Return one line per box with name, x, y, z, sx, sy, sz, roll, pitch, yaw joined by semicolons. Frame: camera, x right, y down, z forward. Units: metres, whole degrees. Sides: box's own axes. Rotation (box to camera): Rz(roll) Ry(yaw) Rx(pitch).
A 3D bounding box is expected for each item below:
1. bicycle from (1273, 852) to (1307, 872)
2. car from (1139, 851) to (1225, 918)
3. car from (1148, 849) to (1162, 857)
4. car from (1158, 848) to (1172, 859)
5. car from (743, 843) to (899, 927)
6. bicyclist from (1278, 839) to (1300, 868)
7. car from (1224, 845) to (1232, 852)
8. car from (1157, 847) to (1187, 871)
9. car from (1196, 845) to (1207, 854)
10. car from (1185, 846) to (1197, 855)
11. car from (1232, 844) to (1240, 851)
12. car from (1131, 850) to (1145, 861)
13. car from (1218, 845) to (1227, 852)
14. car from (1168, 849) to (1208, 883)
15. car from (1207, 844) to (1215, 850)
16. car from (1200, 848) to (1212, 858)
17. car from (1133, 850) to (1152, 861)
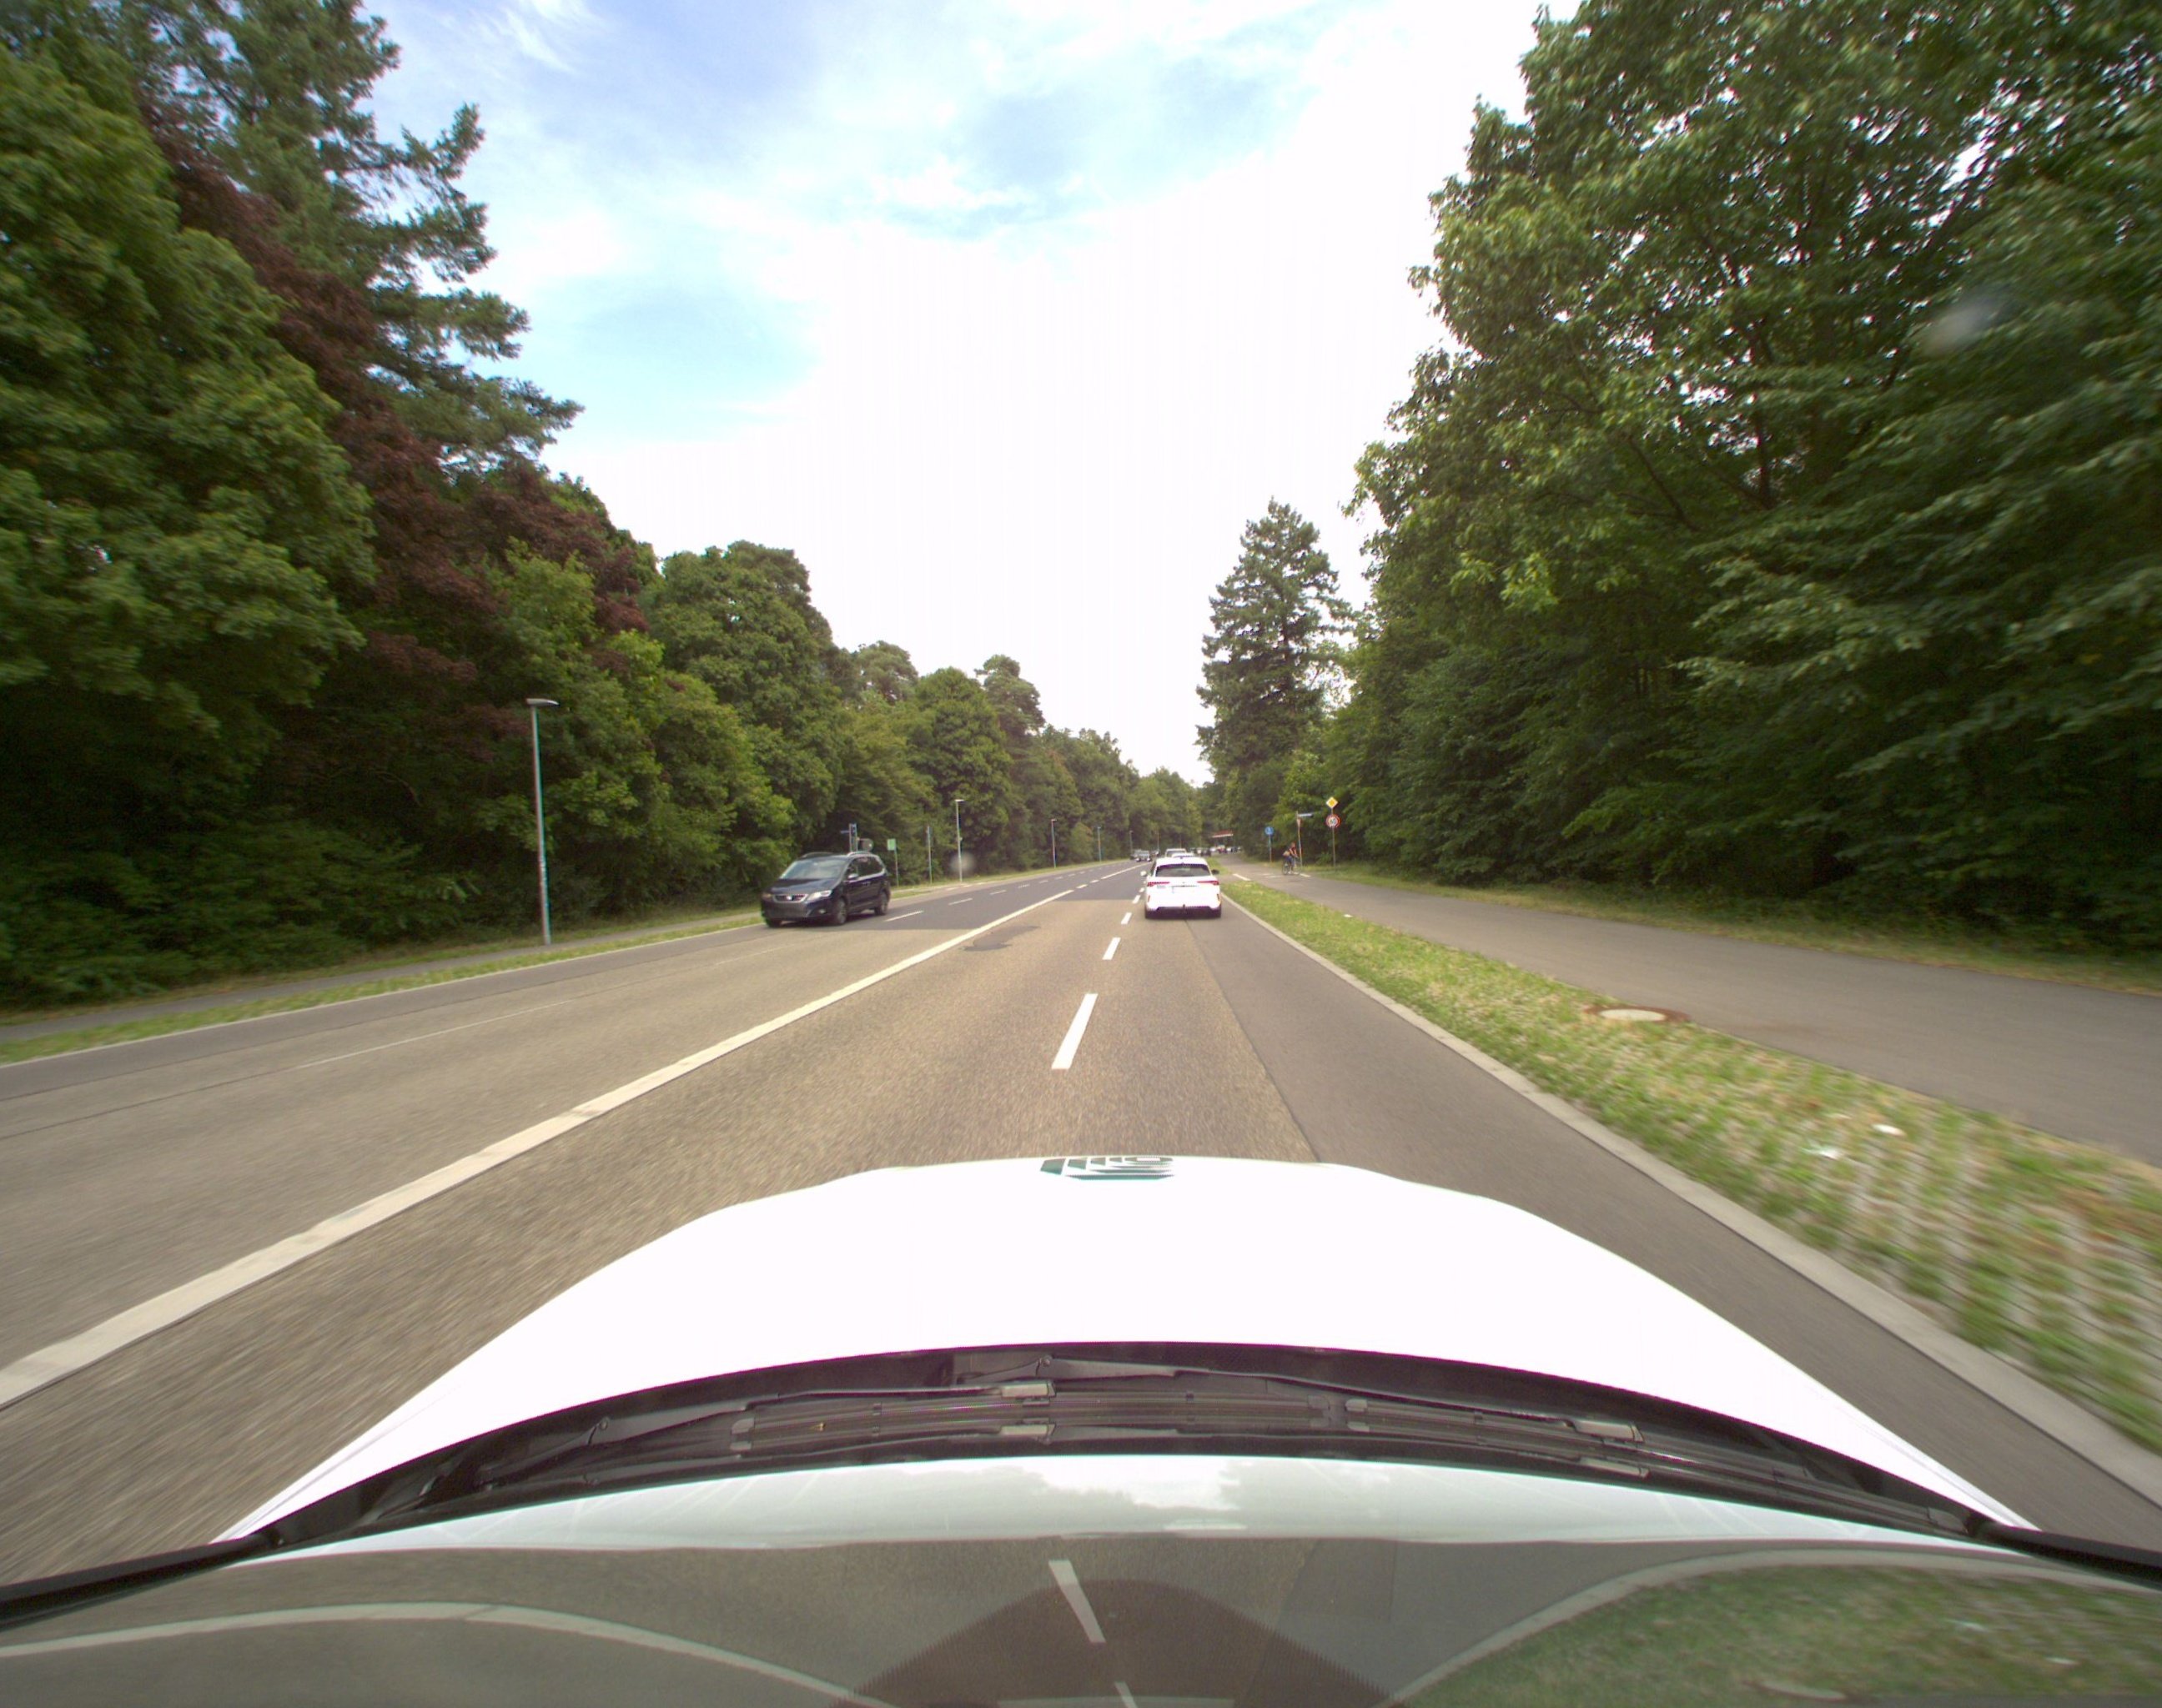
bicycle;10.795;0.431;42.188;0.710;0.994;2.169;-2;0;-16
car;2.476;0.679;20.178;1.827;1.410;4.499;-2;0;6
car;14.314;-0.207;157.293;1.980;1.617;4.679;0;-1;12
car;11.942;-0.033;115.166;1.719;1.587;4.011;0;-1;10
car;-6.330;0.720;20.526;1.984;1.791;4.754;-3;-1;5
bicyclist;10.771;-0.017;42.178;0.710;1.470;0.896;-2;0;-16
car;44.746;-1.656;247.195;1.873;1.816;4.018;0;-1;17
car;6.394;0.360;57.002;1.982;1.607;4.009;0;-1;8
car;26.578;-0.979;179.875;1.979;1.783;4.014;0;-1;13
car;21.914;-0.650;162.677;1.980;1.783;4.014;0;-1;13
car;44.049;-1.891;231.704;1.979;1.706;4.016;-2;0;15
car;9.084;0.198;129.597;1.912;1.655;4.479;-1;-1;8
car;35.082;-1.349;202.169;1.979;1.783;4.015;0;-1;14
car;4.664;0.510;35.328;1.626;1.420;4.009;0;-1;8
car;40.662;-2.166;254.343;1.978;1.563;4.624;0;-1;17
car;23.793;-0.141;154.656;1.980;1.783;4.014;0;-1;13
car;8.335;0.240;110.452;1.981;1.435;4.734;-1;-1;10
